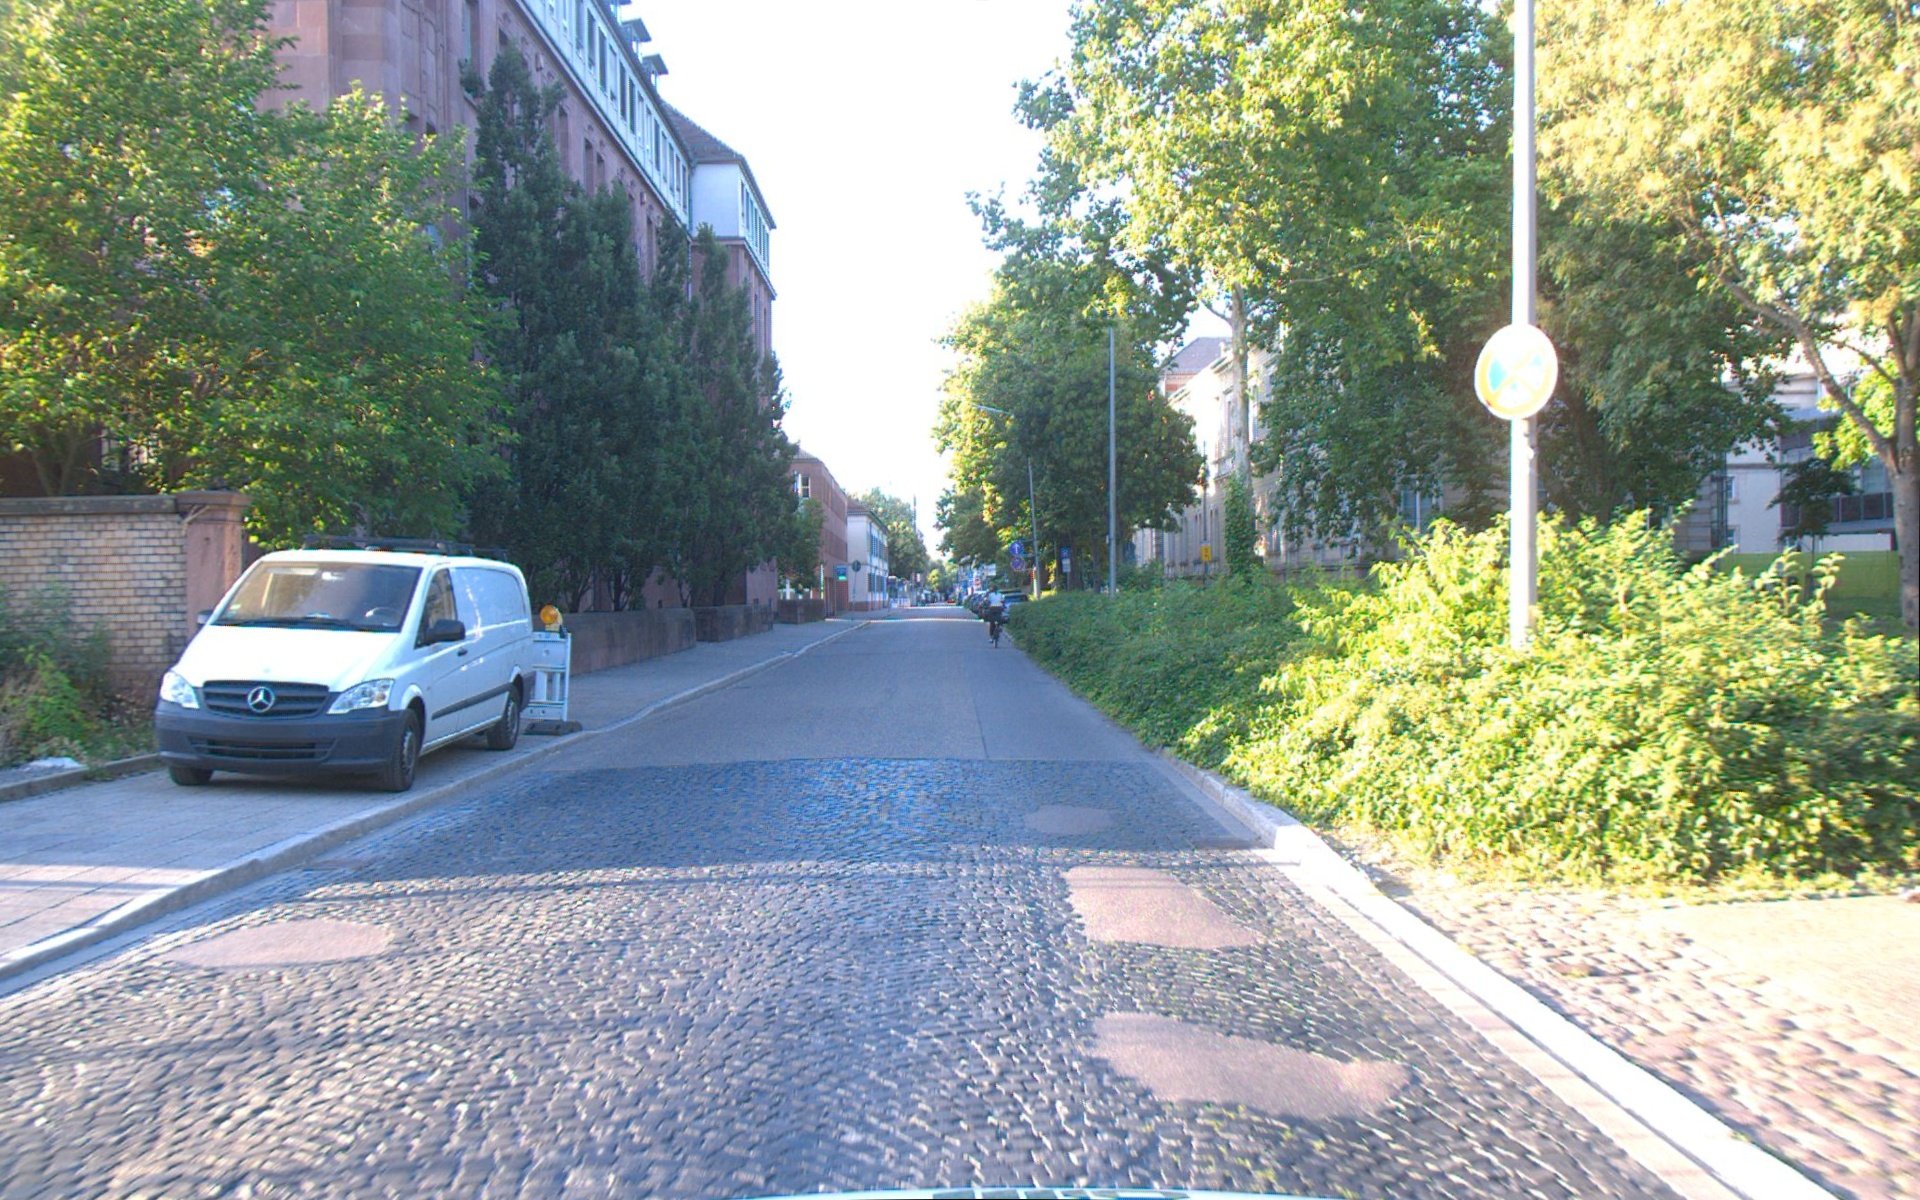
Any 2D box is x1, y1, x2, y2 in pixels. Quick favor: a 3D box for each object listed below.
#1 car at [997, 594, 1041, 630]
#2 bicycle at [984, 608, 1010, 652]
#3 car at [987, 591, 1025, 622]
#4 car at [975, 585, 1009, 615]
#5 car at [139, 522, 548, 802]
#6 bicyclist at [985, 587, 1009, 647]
[{"bbox_3d":[2.627,0.542,74.280,1.652,1.472,3.670,-4,-1,-2],"label":"car"},{"bbox_3d":[1.074,0.855,47.813,0.625,1.214,1.875,1,0,-2],"label":"bicycle"},{"bbox_3d":[2.426,0.341,87.870,1.681,1.564,4.046,-1,0,-2],"label":"car"},{"bbox_3d":[1.996,-0.006,103.851,1.953,1.735,3.999,-2,0,-2],"label":"car"},{"bbox_3d":[-5.202,0.501,14.836,1.845,2.049,5.223,1,-1,-2],"label":"car"},{"bbox_3d":[1.078,0.487,47.756,0.626,1.696,0.842,1,0,-2],"label":"bicyclist"}]
